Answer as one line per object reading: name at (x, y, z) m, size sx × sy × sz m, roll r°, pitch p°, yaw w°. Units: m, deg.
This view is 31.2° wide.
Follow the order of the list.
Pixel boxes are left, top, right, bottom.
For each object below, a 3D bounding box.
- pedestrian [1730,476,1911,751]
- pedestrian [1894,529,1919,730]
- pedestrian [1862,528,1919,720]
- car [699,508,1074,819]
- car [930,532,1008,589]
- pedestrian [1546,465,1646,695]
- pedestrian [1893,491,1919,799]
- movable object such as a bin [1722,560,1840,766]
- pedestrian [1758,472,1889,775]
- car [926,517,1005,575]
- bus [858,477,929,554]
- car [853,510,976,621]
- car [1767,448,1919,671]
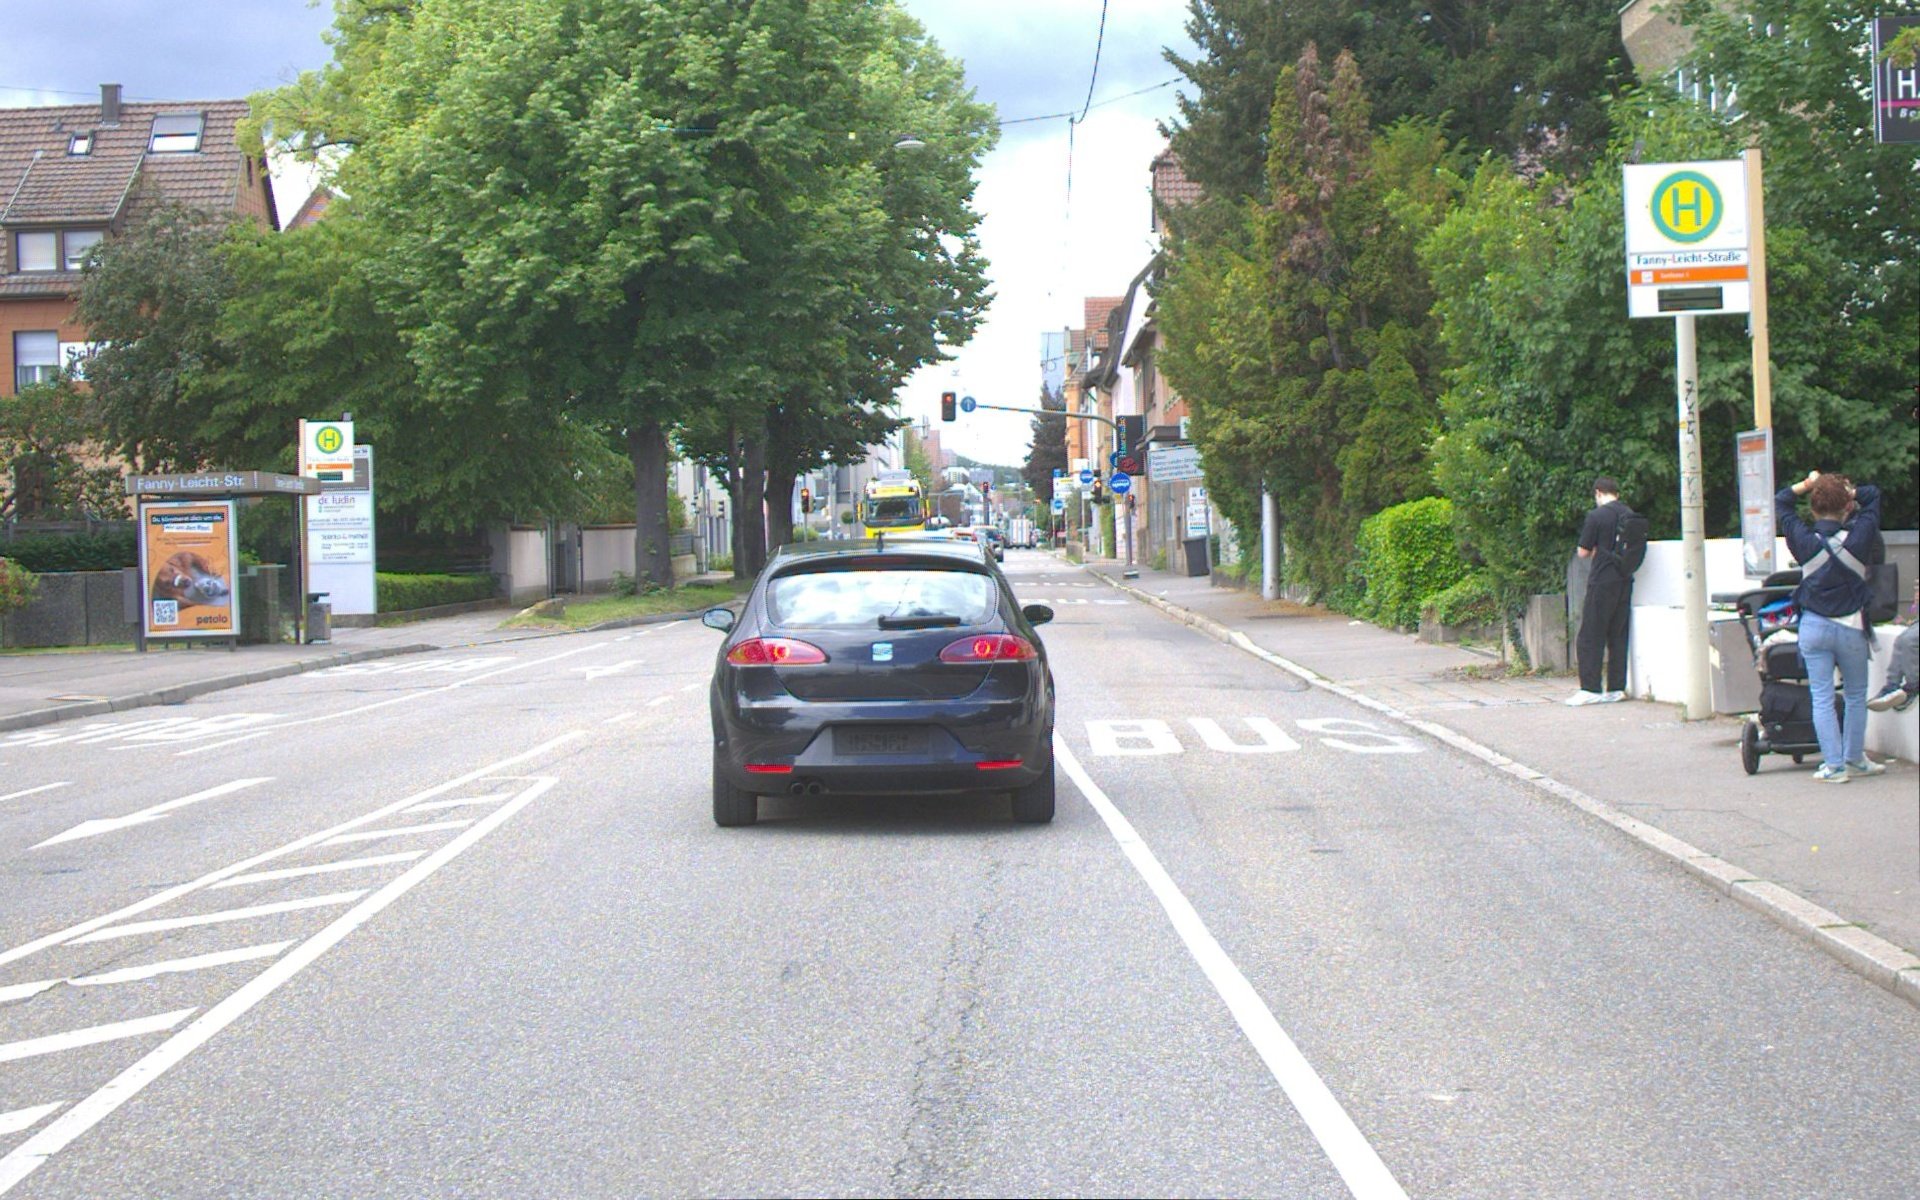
pedestrian at (4.848, 0.072, 19.407) m, size 0.779 × 1.495 × 0.605 m, roll -2°, pitch 1°, yaw -5°
pedestrian at (4.814, 0.132, 16.533) m, size 0.454 × 0.961 × 0.383 m, roll -4°, pitch 1°, yaw -6°
pedestrian at (4.979, 0.113, 17.753) m, size 0.454 × 0.961 × 0.383 m, roll -4°, pitch 1°, yaw -6°
car at (-0.455, 0.277, 18.329) m, size 1.759 × 1.444 × 3.715 m, roll 2°, pitch 1°, yaw -3°
car at (0.293, -1.222, 106.108) m, size 1.994 × 1.678 × 3.999 m, roll -1°, pitch 1°, yaw 6°
pedestrian at (4.820, -0.150, 26.077) m, size 0.585 × 1.706 × 0.530 m, roll -2°, pitch 0°, yaw -1°
pedestrian at (4.784, 0.188, 15.982) m, size 0.620 × 1.422 × 0.512 m, roll -3°, pitch 2°, yaw 39°
movable object such as a bin at (4.435, 0.335, 18.552) m, size 0.441 × 1.054 × 0.567 m, roll -3°, pitch 1°, yaw 27°
pedestrian at (4.415, 0.115, 17.598) m, size 0.550 × 1.512 × 0.361 m, roll -3°, pitch 1°, yaw 9°
car at (0.127, -1.463, 92.926) m, size 1.941 × 1.476 × 4.253 m, roll -1°, pitch 1°, yaw -2°
bus at (-2.779, -3.508, 144.499) m, size 2.868 × 3.125 × 6.398 m, roll -1°, pitch 1°, yaw 0°
car at (-0.699, -0.586, 55.960) m, size 1.819 × 1.693 × 4.253 m, roll -1°, pitch 1°, yaw 1°
car at (9.012, -0.374, 28.763) m, size 3.986 × 1.782 × 1.888 m, roll -1°, pitch 0°, yaw -3°
